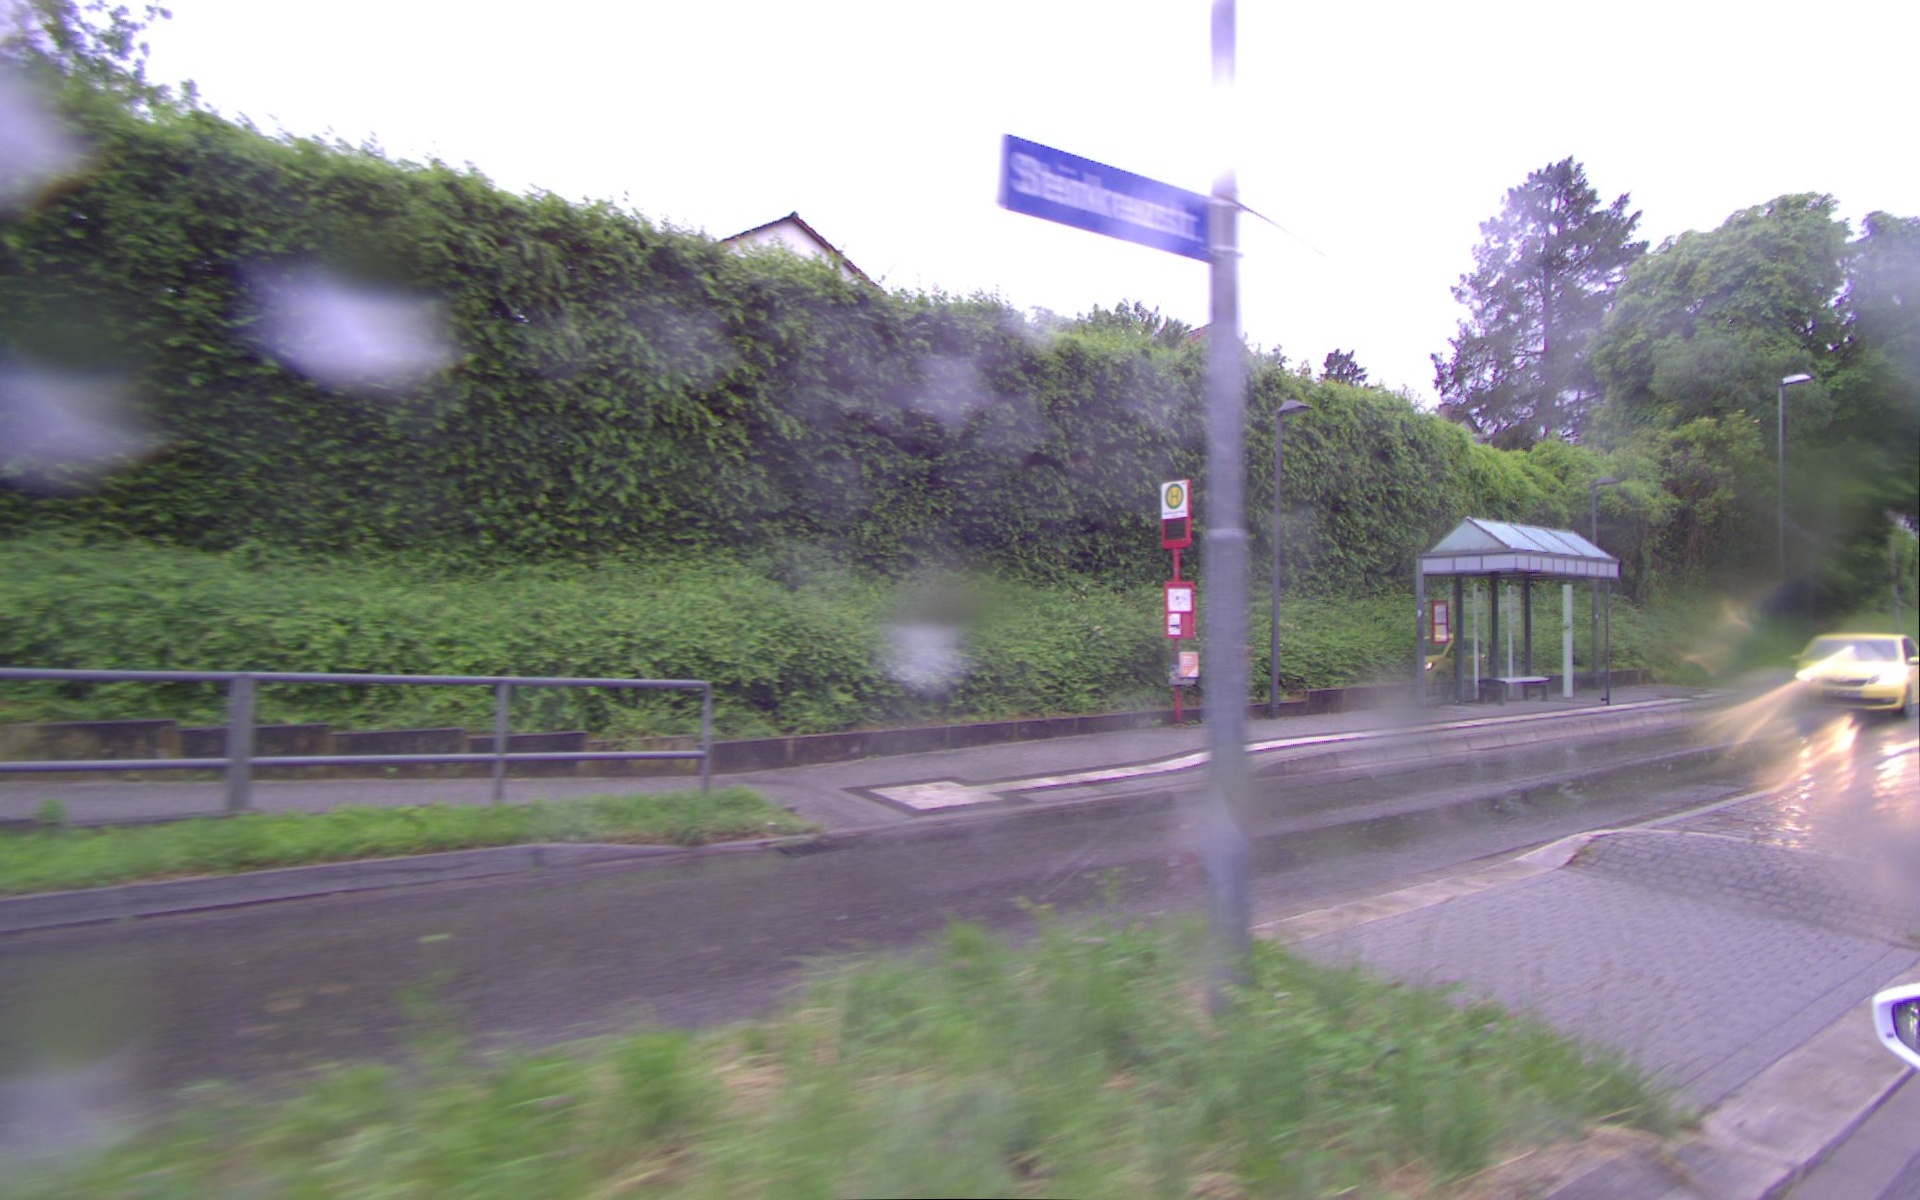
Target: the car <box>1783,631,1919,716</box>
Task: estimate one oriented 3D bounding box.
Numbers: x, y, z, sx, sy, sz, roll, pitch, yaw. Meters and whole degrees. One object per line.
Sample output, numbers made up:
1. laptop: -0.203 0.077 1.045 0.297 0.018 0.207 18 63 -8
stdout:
1. car: 16.852 1.316 18.855 3.446 1.429 1.559 1 -3 -40
